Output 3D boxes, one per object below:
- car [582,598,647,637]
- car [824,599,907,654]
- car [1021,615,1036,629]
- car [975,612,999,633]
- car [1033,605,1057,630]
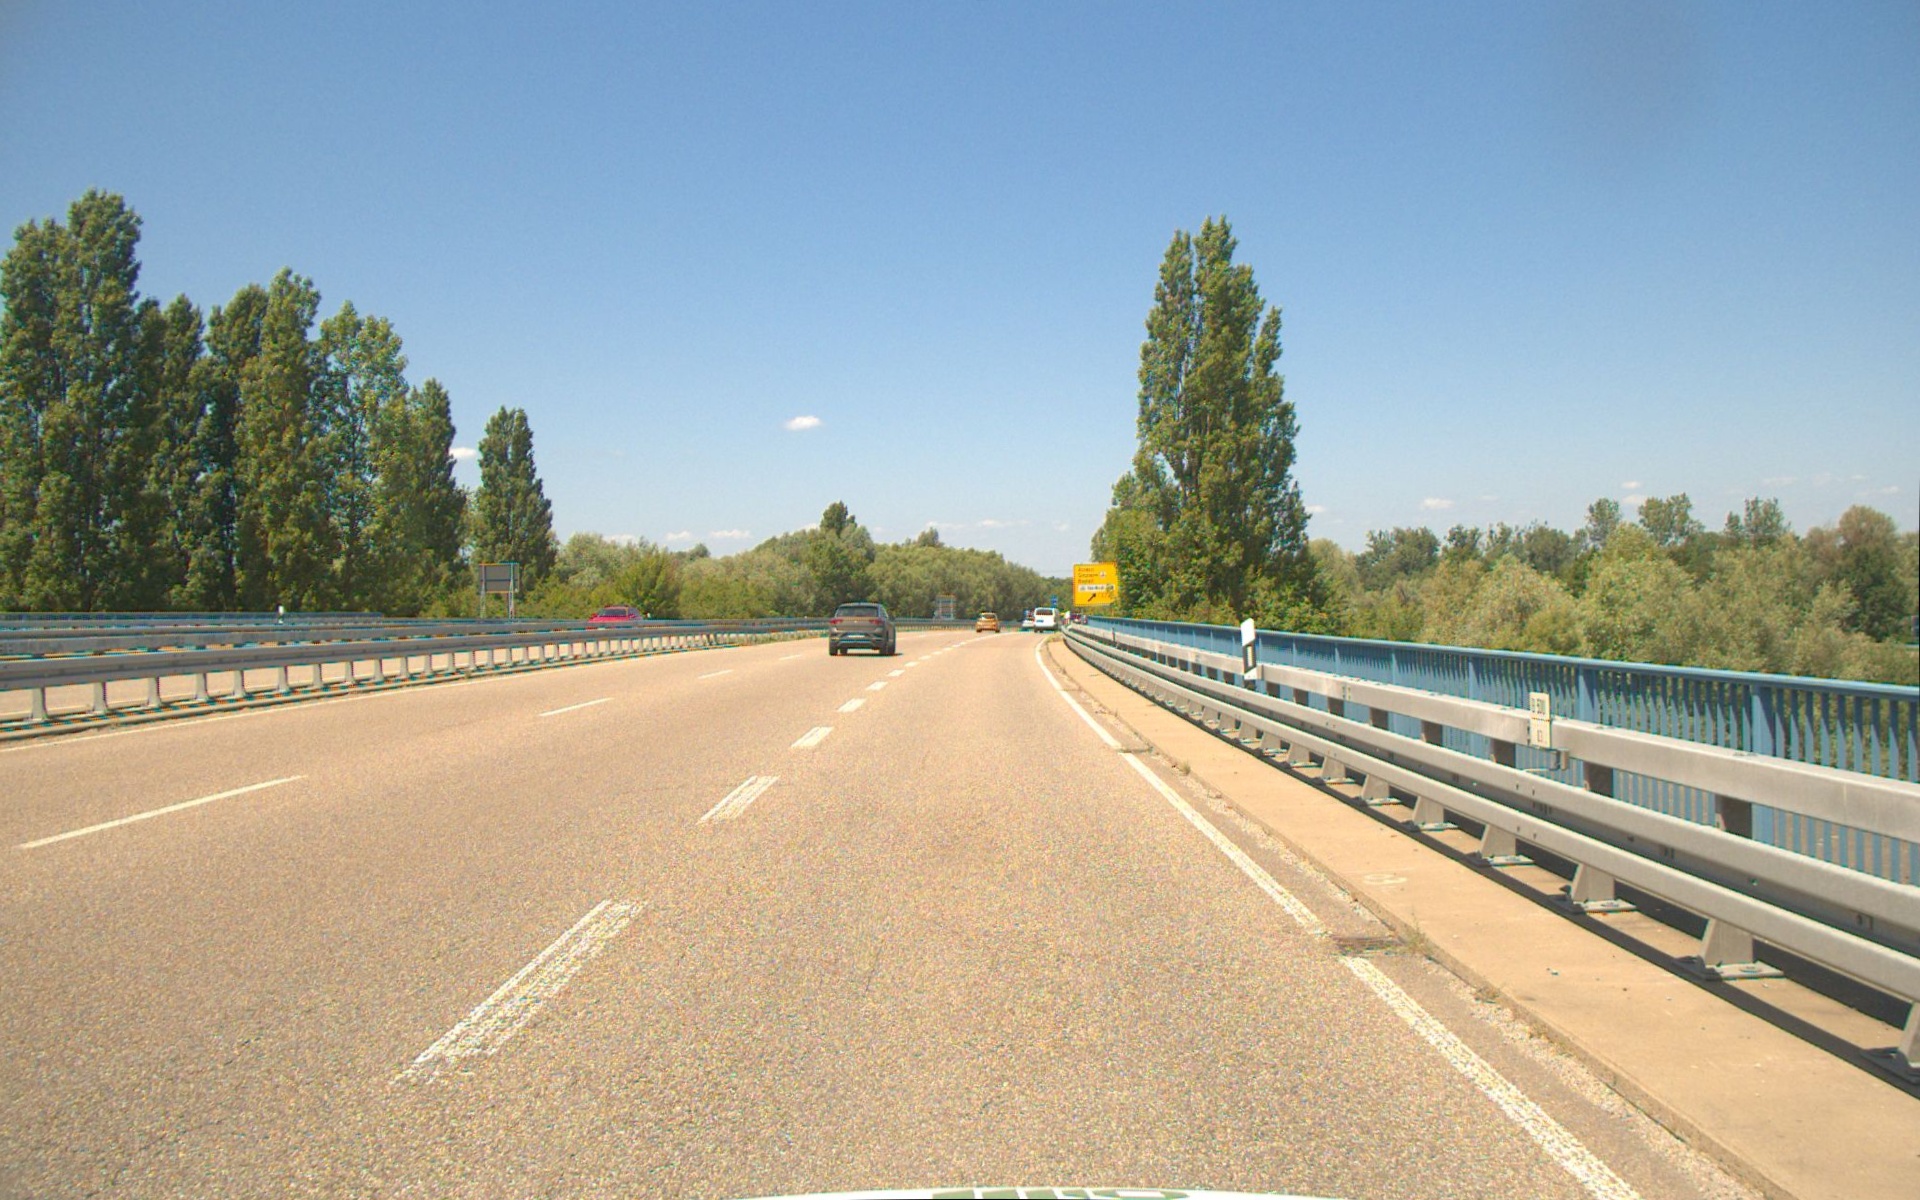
[{"bbox_3d":[-15.627,0.809,75.061,1.805,1.697,5.050,0,-1,1],"label":"car"},{"bbox_3d":[-2.849,0.769,50.763,1.802,1.556,4.473,1,0,7],"label":"car"},{"bbox_3d":[8.140,2.613,196.316,1.803,1.476,4.001,1,0,2],"label":"car"},{"bbox_3d":[2.059,1.711,126.831,1.803,1.489,4.000,1,0,1],"label":"car"},{"bbox_3d":[6.716,1.364,131.192,1.803,1.928,4.001,1,0,2],"label":"car"}]
